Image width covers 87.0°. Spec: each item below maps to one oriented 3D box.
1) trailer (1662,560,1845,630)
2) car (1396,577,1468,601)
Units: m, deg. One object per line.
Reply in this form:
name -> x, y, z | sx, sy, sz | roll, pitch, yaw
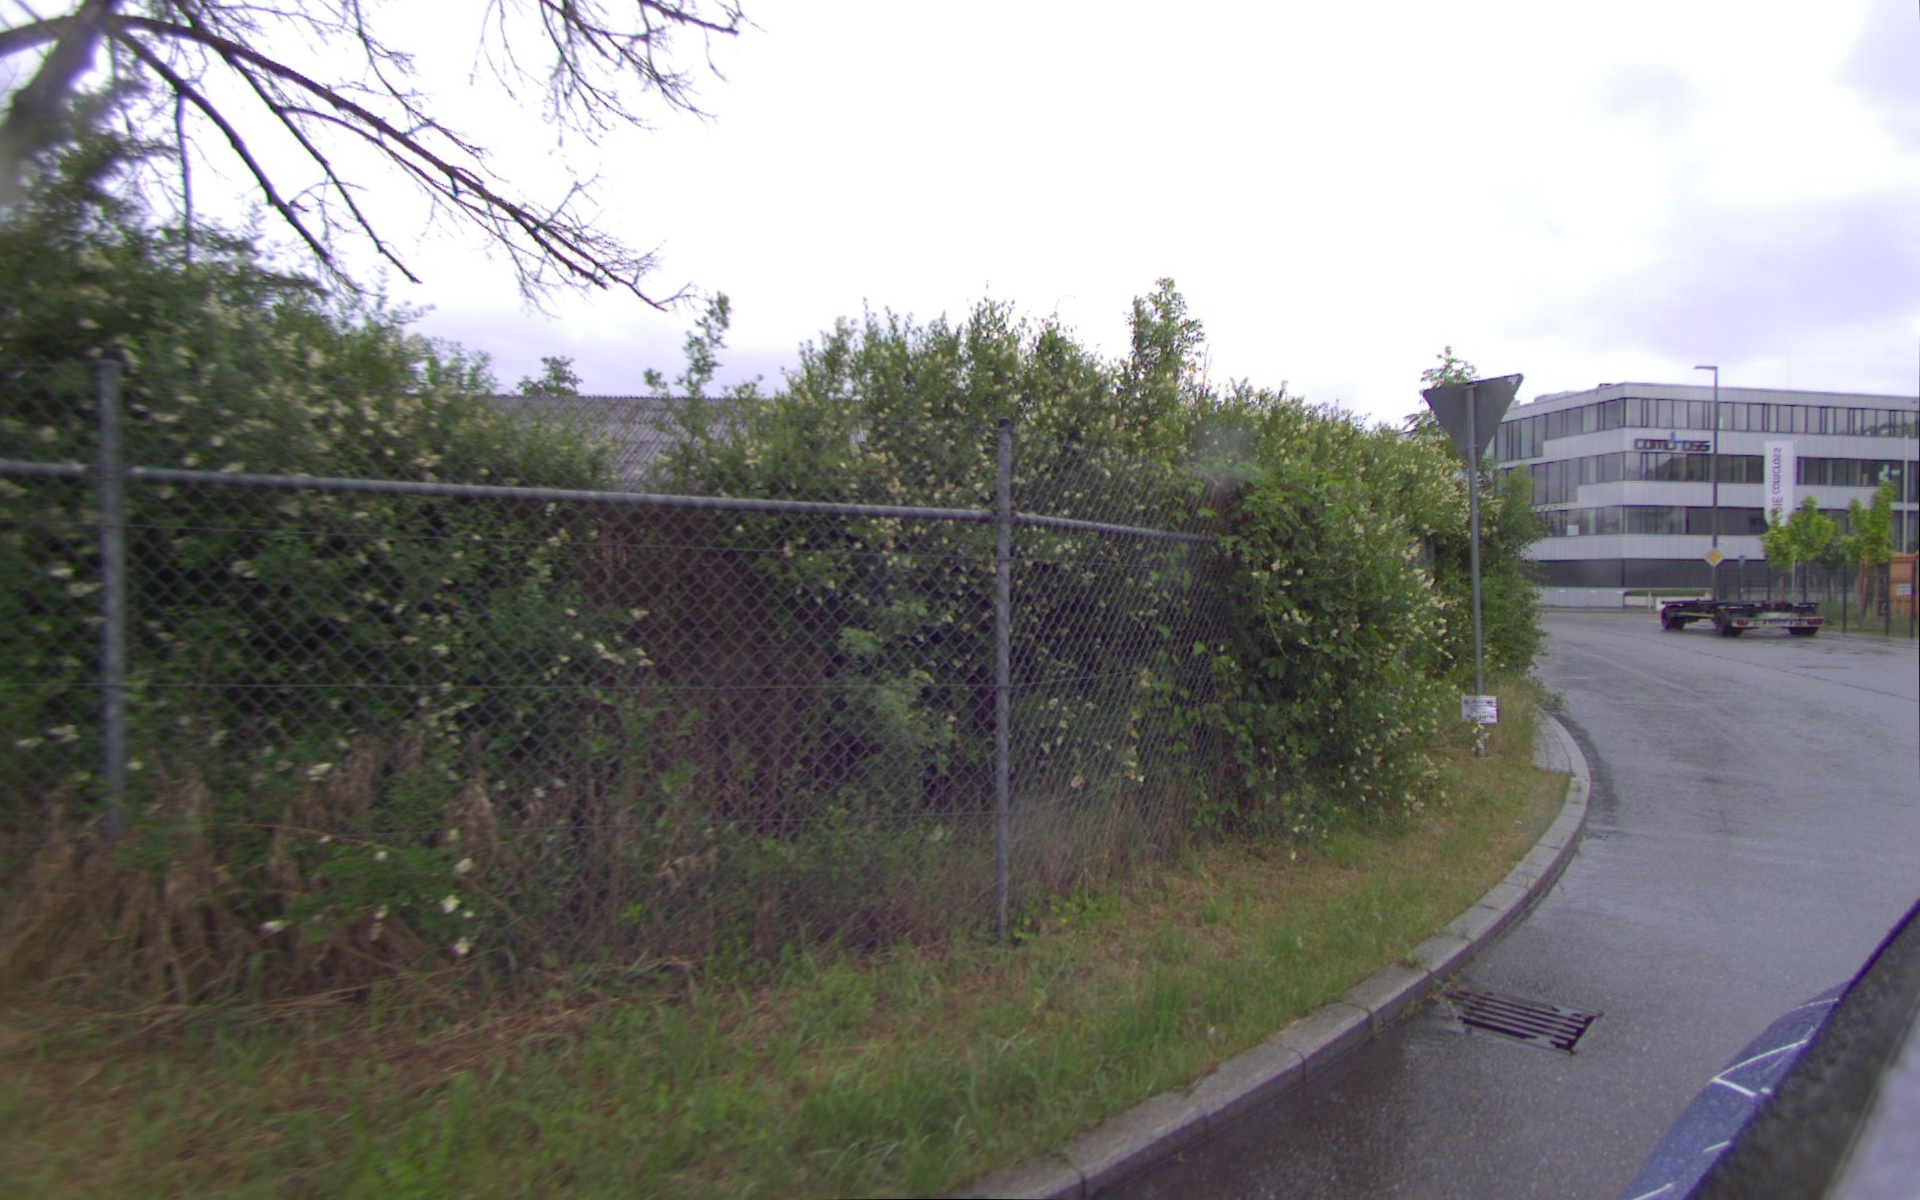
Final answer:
trailer -> 25.339, -0.187, 32.715 | 2.543, 2.039, 6.597 | -1, 1, 19
car -> 36.855, -0.871, 79.022 | 4.670, 1.787, 2.003 | -2, 1, -7
